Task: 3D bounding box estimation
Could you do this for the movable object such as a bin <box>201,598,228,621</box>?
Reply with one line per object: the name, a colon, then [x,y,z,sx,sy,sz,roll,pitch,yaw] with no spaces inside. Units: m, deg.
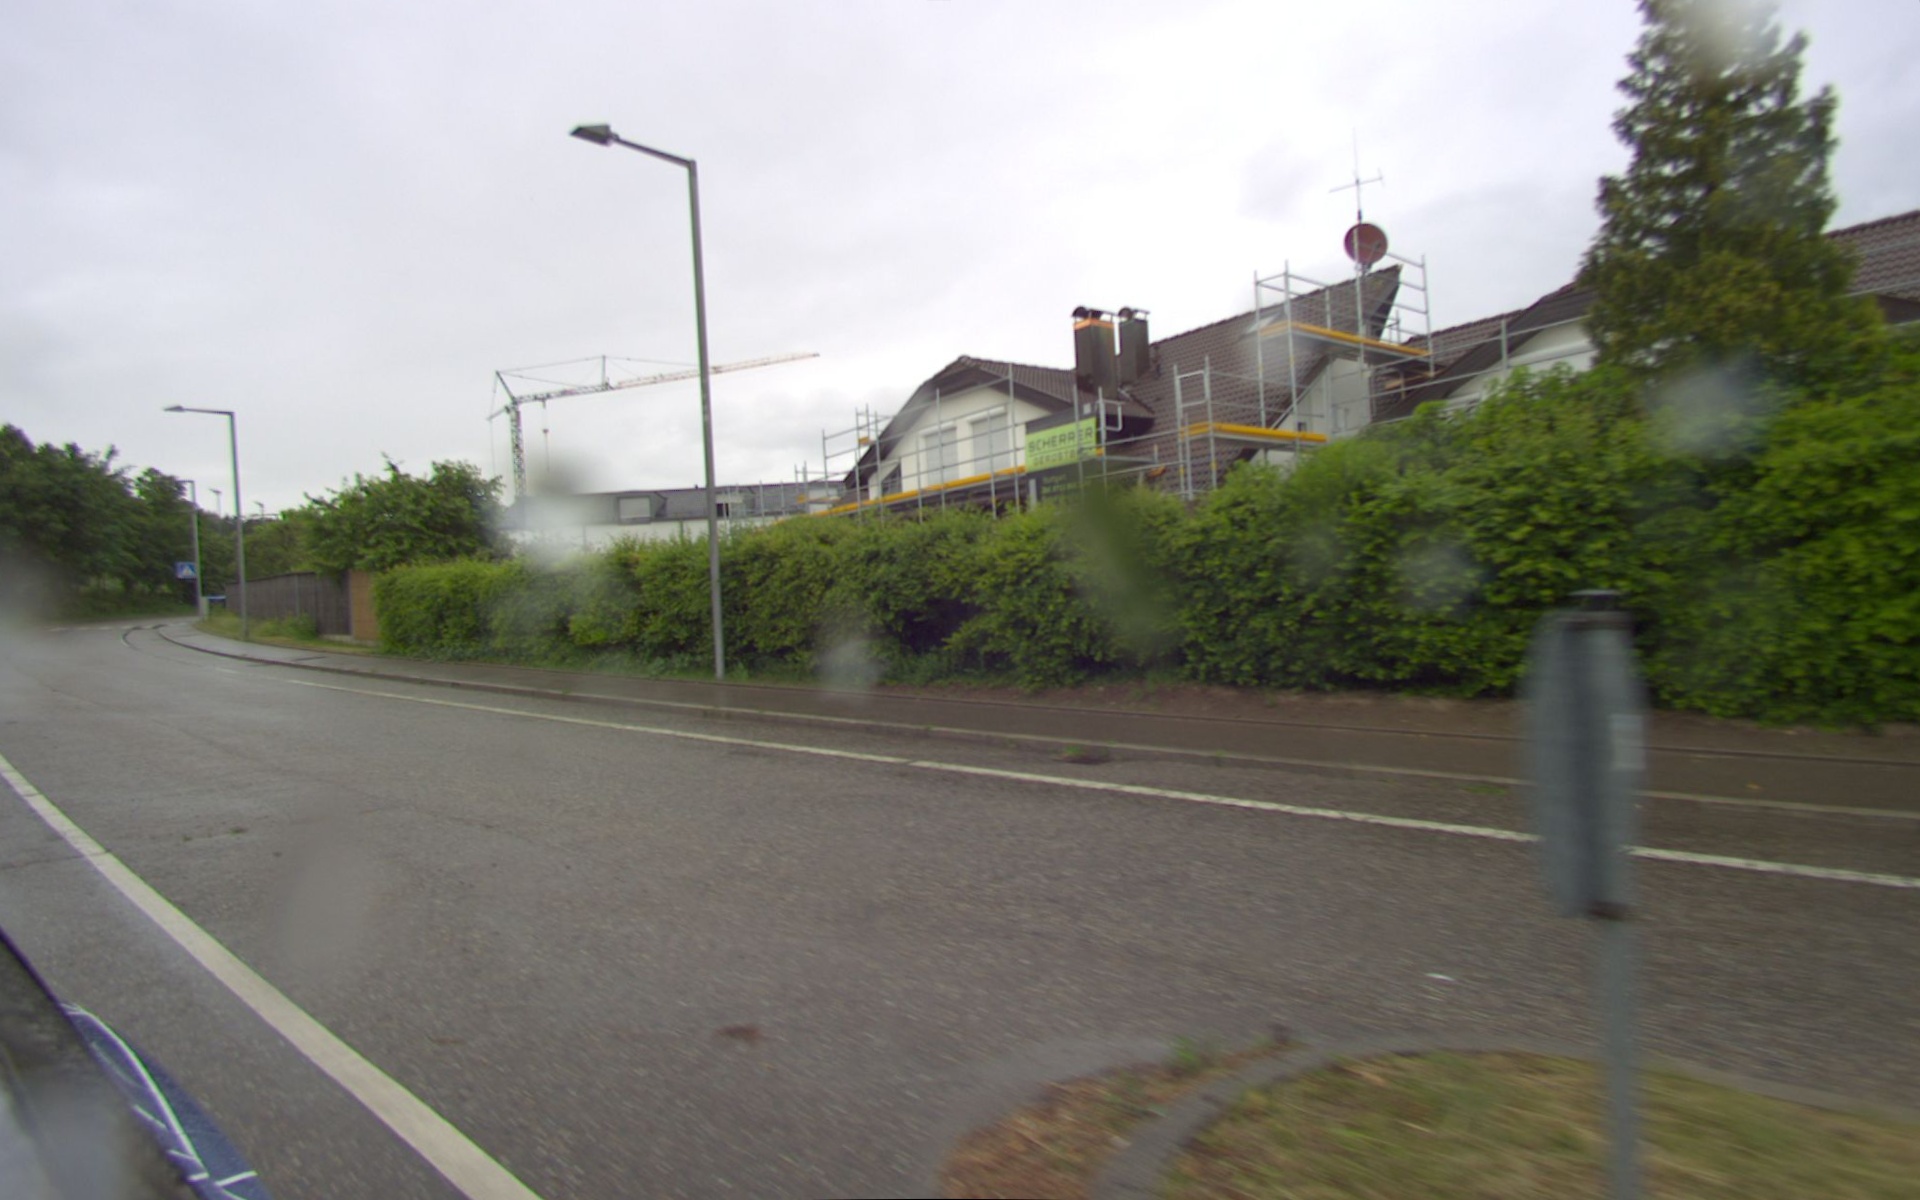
movable object such as a bin: [-47.761,0.623,64.885,1.116,1.331,1.366,-7,2,-30]
